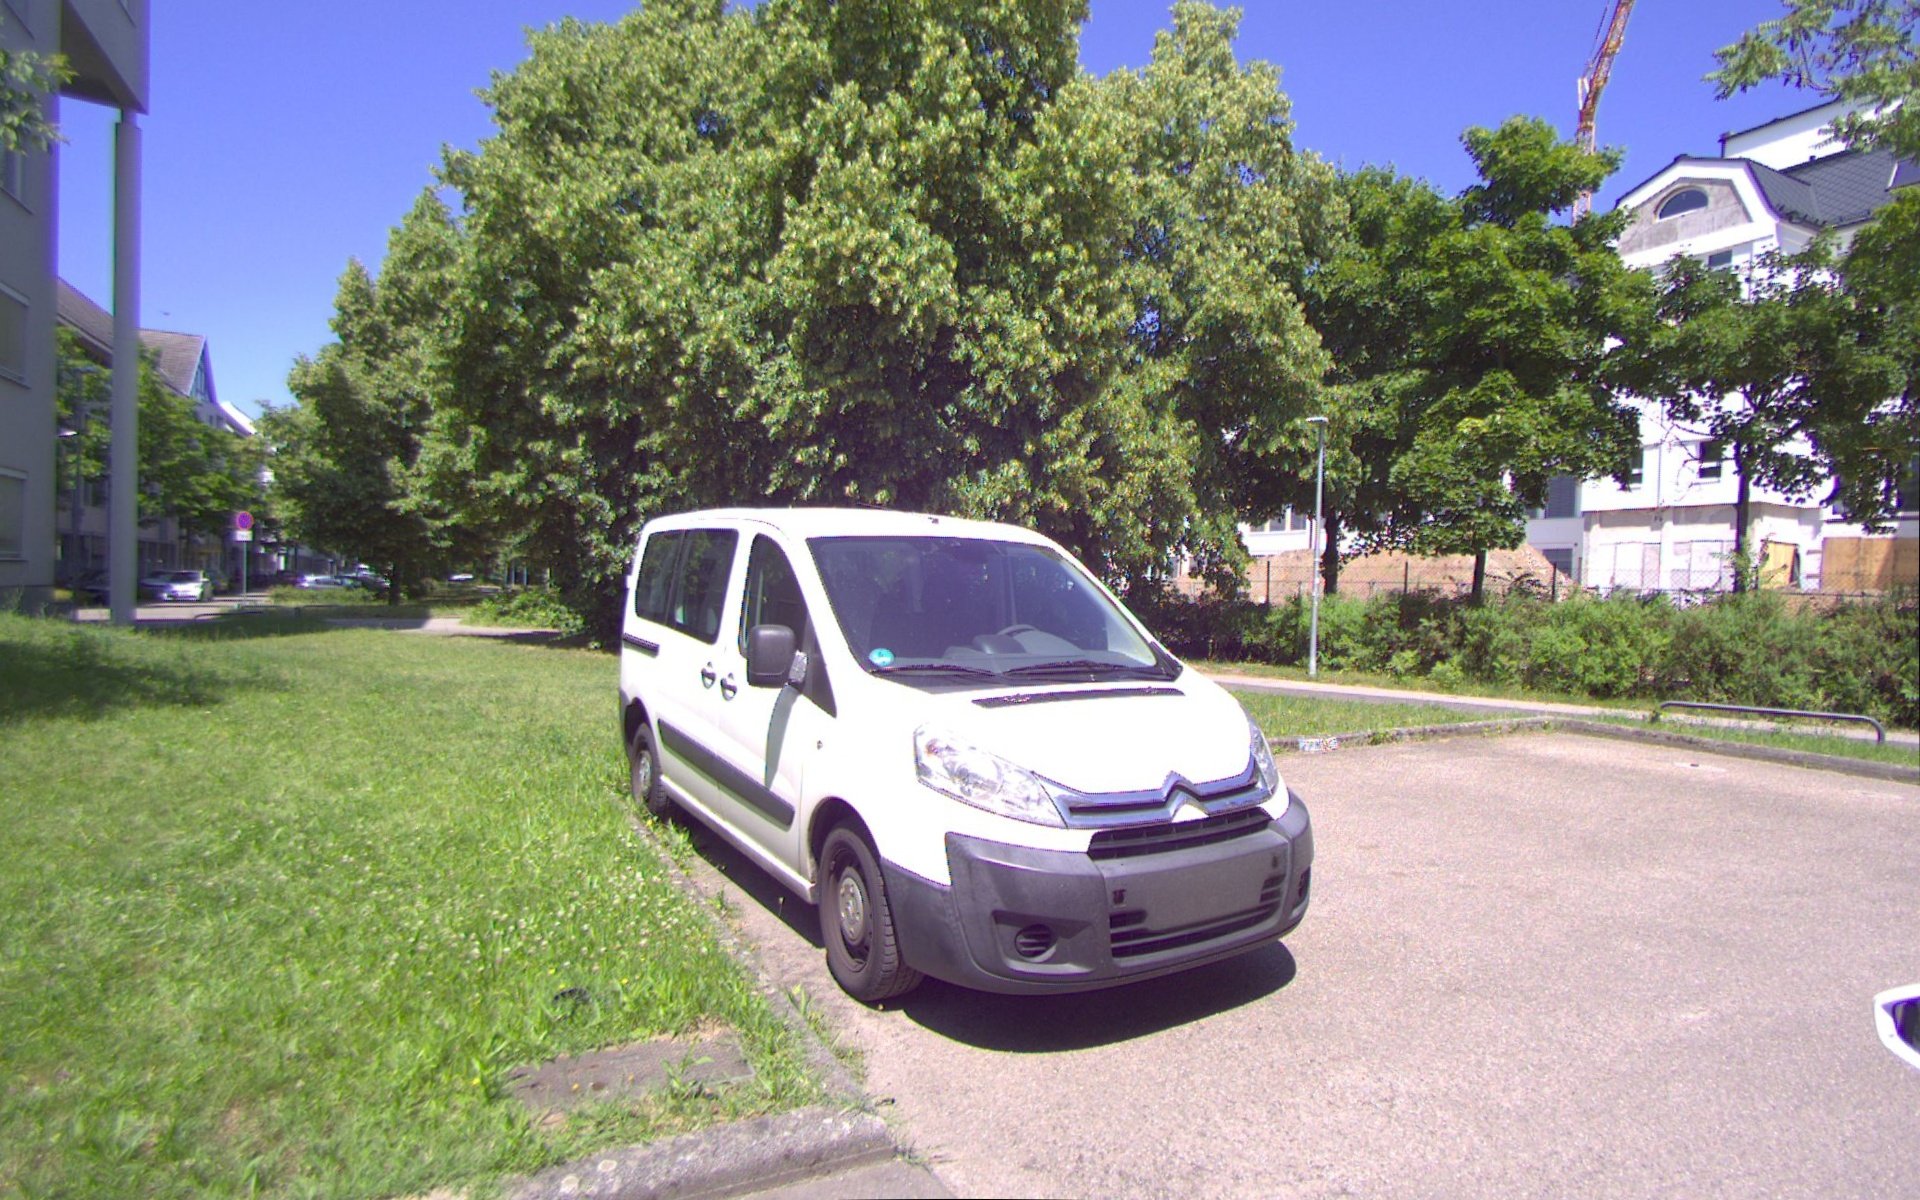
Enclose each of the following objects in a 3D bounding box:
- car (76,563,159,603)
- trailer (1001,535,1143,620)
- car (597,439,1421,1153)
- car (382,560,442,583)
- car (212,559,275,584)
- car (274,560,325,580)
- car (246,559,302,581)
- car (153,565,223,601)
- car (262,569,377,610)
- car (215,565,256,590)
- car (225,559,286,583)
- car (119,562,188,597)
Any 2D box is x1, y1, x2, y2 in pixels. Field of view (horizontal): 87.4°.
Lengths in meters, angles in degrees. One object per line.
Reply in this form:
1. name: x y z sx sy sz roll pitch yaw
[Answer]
1. car: -38.055 -0.796 45.488 1.951 1.639 4.141 2 1 -27
2. trailer: 4.943 -1.094 46.607 2.996 3.467 8.732 2 1 -19
3. car: -0.360 0.465 5.267 1.978 1.937 4.762 -1 2 -32
4. car: -43.660 -2.285 79.984 4.123 1.639 1.960 2 1 -31
5. car: -56.322 -2.249 79.077 3.959 1.756 1.775 1 2 -34
6. car: -61.399 -2.797 93.413 3.959 1.756 1.775 1 2 -34
7. car: -59.863 -2.606 87.698 3.959 1.756 1.775 1 2 -34
8. car: -37.604 -0.837 49.029 1.951 1.639 4.141 2 1 -27
9. car: -27.989 -0.455 44.067 4.122 1.639 1.960 2 1 -30
10. car: -50.470 -1.584 70.067 1.954 1.639 4.135 2 1 -31
11. car: -57.080 -2.336 81.490 3.959 1.756 1.775 1 2 -34
12. car: -41.096 -1.071 51.274 1.952 1.639 4.140 2 1 -28
